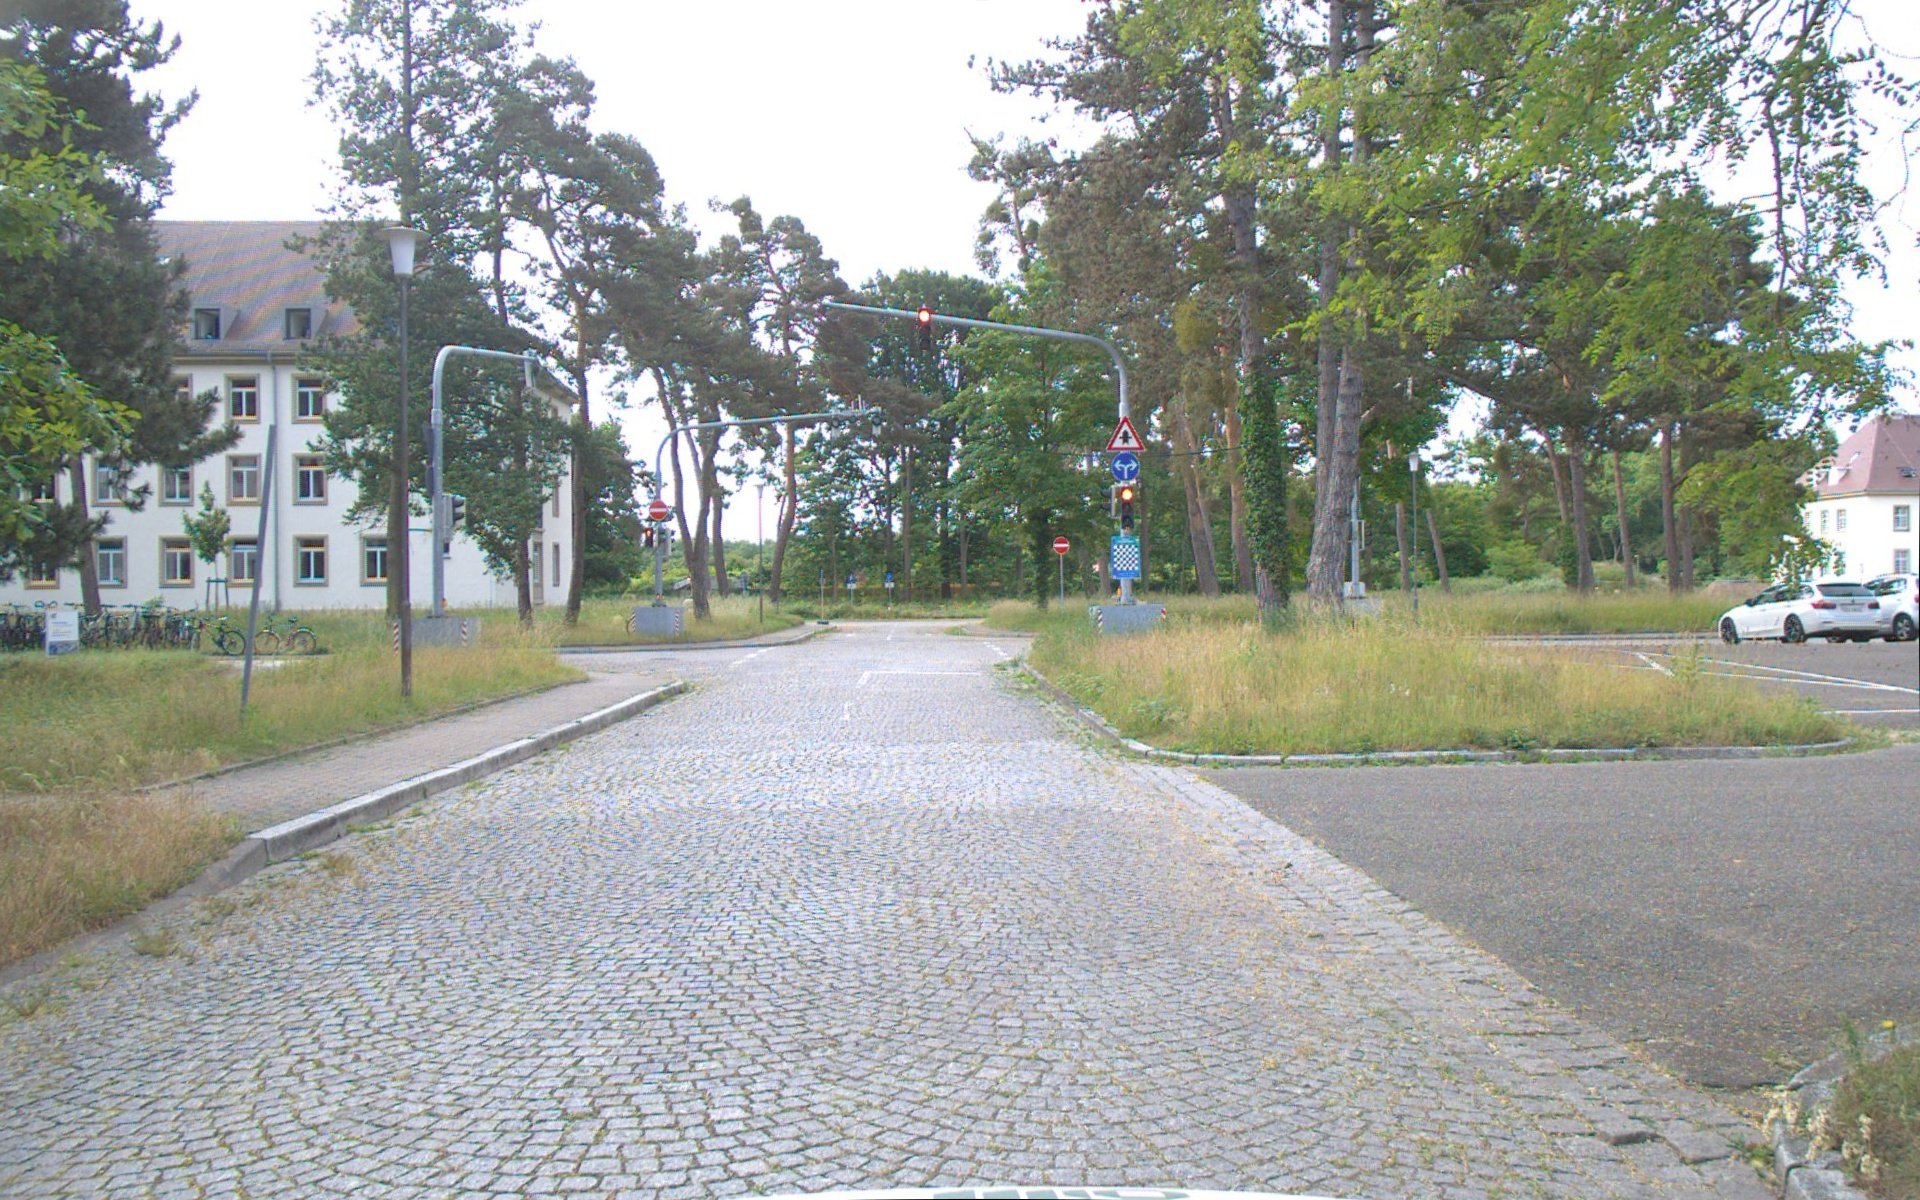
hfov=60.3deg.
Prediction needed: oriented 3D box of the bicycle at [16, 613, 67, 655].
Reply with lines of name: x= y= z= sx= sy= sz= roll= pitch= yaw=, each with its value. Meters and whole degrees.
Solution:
bicycle: x=-24.900 y=0.902 z=44.847 sx=0.504 sy=1.098 sz=1.585 roll=-1 pitch=0 yaw=-2

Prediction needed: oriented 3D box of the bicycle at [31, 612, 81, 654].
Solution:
bicycle: x=-24.523 y=0.878 z=44.871 sx=0.504 sy=1.098 sz=1.585 roll=-1 pitch=0 yaw=-2

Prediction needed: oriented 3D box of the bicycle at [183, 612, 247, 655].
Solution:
bicycle: x=-19.698 y=0.880 z=43.760 sx=1.435 sy=1.098 sz=0.516 roll=-1 pitch=0 yaw=-4

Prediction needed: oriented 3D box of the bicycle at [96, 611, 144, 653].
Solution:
bicycle: x=-22.851 y=0.865 z=45.018 sx=0.504 sy=1.098 sz=1.585 roll=-1 pitch=0 yaw=-2

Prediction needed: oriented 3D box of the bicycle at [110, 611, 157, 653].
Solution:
bicycle: x=-22.497 y=0.871 z=45.028 sx=0.504 sy=1.098 sz=1.585 roll=-1 pitch=0 yaw=-2

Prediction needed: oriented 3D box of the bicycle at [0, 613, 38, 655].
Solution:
bicycle: x=-25.683 y=0.908 z=44.813 sx=0.504 sy=1.098 sz=1.585 roll=-1 pitch=0 yaw=-2

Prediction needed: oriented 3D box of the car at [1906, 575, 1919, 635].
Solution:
car: x=24.899 y=0.050 z=39.876 sx=1.666 sy=1.511 sz=4.242 roll=-1 pitch=-2 yaw=-1

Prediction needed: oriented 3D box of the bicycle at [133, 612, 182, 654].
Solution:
bicycle: x=-21.802 y=0.881 z=44.966 sx=0.504 sy=1.098 sz=1.585 roll=-1 pitch=0 yaw=1

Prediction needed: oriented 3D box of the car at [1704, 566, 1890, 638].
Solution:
car: x=19.744 y=0.089 z=39.255 sx=1.812 sy=1.513 sz=4.604 roll=1 pitch=-2 yaw=-5

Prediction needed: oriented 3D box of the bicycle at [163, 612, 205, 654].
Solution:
bicycle: x=-21.140 y=0.890 z=45.083 sx=0.504 sy=1.098 sz=1.584 roll=-1 pitch=0 yaw=-5

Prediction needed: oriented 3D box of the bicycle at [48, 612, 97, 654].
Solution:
bicycle: x=-24.079 y=0.881 z=44.897 sx=0.504 sy=1.098 sz=1.585 roll=-1 pitch=0 yaw=-2

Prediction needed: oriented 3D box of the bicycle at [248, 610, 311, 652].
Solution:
bicycle: x=-18.098 y=0.827 z=43.996 sx=1.435 sy=1.084 sz=0.516 roll=-1 pitch=0 yaw=-4

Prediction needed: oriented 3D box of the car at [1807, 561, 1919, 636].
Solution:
car: x=22.331 y=-0.004 z=39.473 sx=1.747 sy=1.634 sz=4.238 roll=-1 pitch=-2 yaw=-5

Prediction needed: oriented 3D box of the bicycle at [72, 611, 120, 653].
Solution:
bicycle: x=-23.469 y=0.867 z=44.944 sx=0.504 sy=1.098 sz=1.585 roll=-1 pitch=0 yaw=-2
